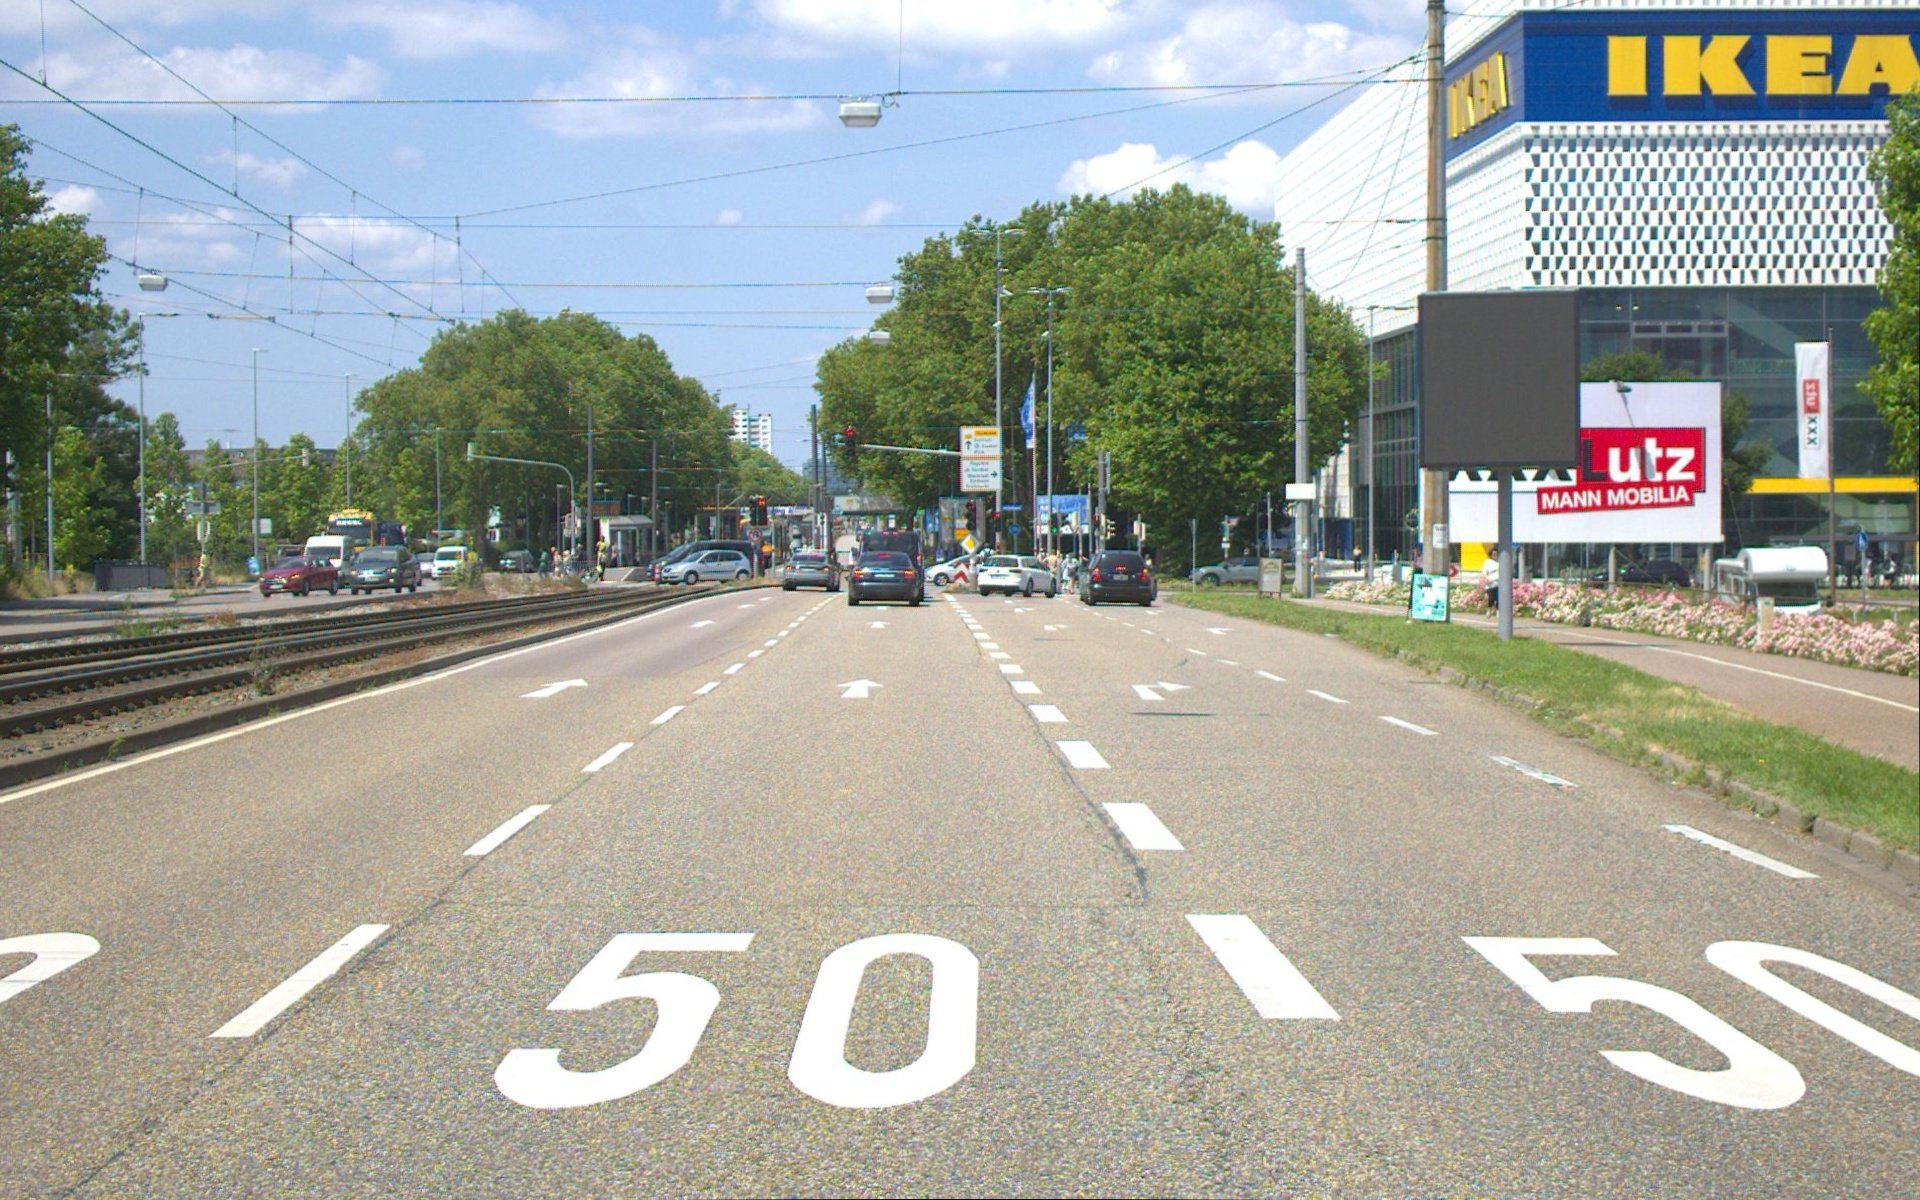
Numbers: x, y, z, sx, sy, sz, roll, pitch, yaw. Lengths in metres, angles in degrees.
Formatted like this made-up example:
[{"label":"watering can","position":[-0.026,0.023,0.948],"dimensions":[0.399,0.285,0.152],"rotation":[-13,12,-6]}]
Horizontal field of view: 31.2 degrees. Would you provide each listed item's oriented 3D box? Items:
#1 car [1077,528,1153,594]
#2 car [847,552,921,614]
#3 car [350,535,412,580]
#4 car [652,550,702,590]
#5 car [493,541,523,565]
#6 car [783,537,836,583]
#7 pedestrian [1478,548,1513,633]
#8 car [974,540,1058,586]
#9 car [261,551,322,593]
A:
[{"label":"car","position":[4.368,-1.123,97.594],"dimensions":[1.899,1.799,3.977],"rotation":[1,1,-1]},{"label":"car","position":[-2.002,-0.453,89.920],"dimensions":[1.876,1.534,3.777],"rotation":[1,1,-2]},{"label":"car","position":[-20.995,-1.550,124.795],"dimensions":[1.623,1.544,3.984],"rotation":[2,1,-1]},{"label":"car","position":[-11.526,-1.231,140.261],"dimensions":[1.842,1.544,3.777],"rotation":[2,1,-3]},{"label":"car","position":[-30.321,-3.139,230.690],"dimensions":[1.623,1.544,3.704],"rotation":[1,1,-2]},{"label":"car","position":[-5.392,-1.440,122.988],"dimensions":[1.842,1.544,3.777],"rotation":[2,1,-3]},{"label":"pedestrian","position":[11.312,-0.208,72.647],"dimensions":[0.580,1.786,0.590],"rotation":[1,1,-3]},{"label":"car","position":[2.007,-1.318,122.183],"dimensions":[1.687,1.544,3.979],"rotation":[2,1,21]},{"label":"car","position":[-25.993,-1.106,133.759],"dimensions":[1.623,1.544,3.984],"rotation":[1,1,-1]}]
